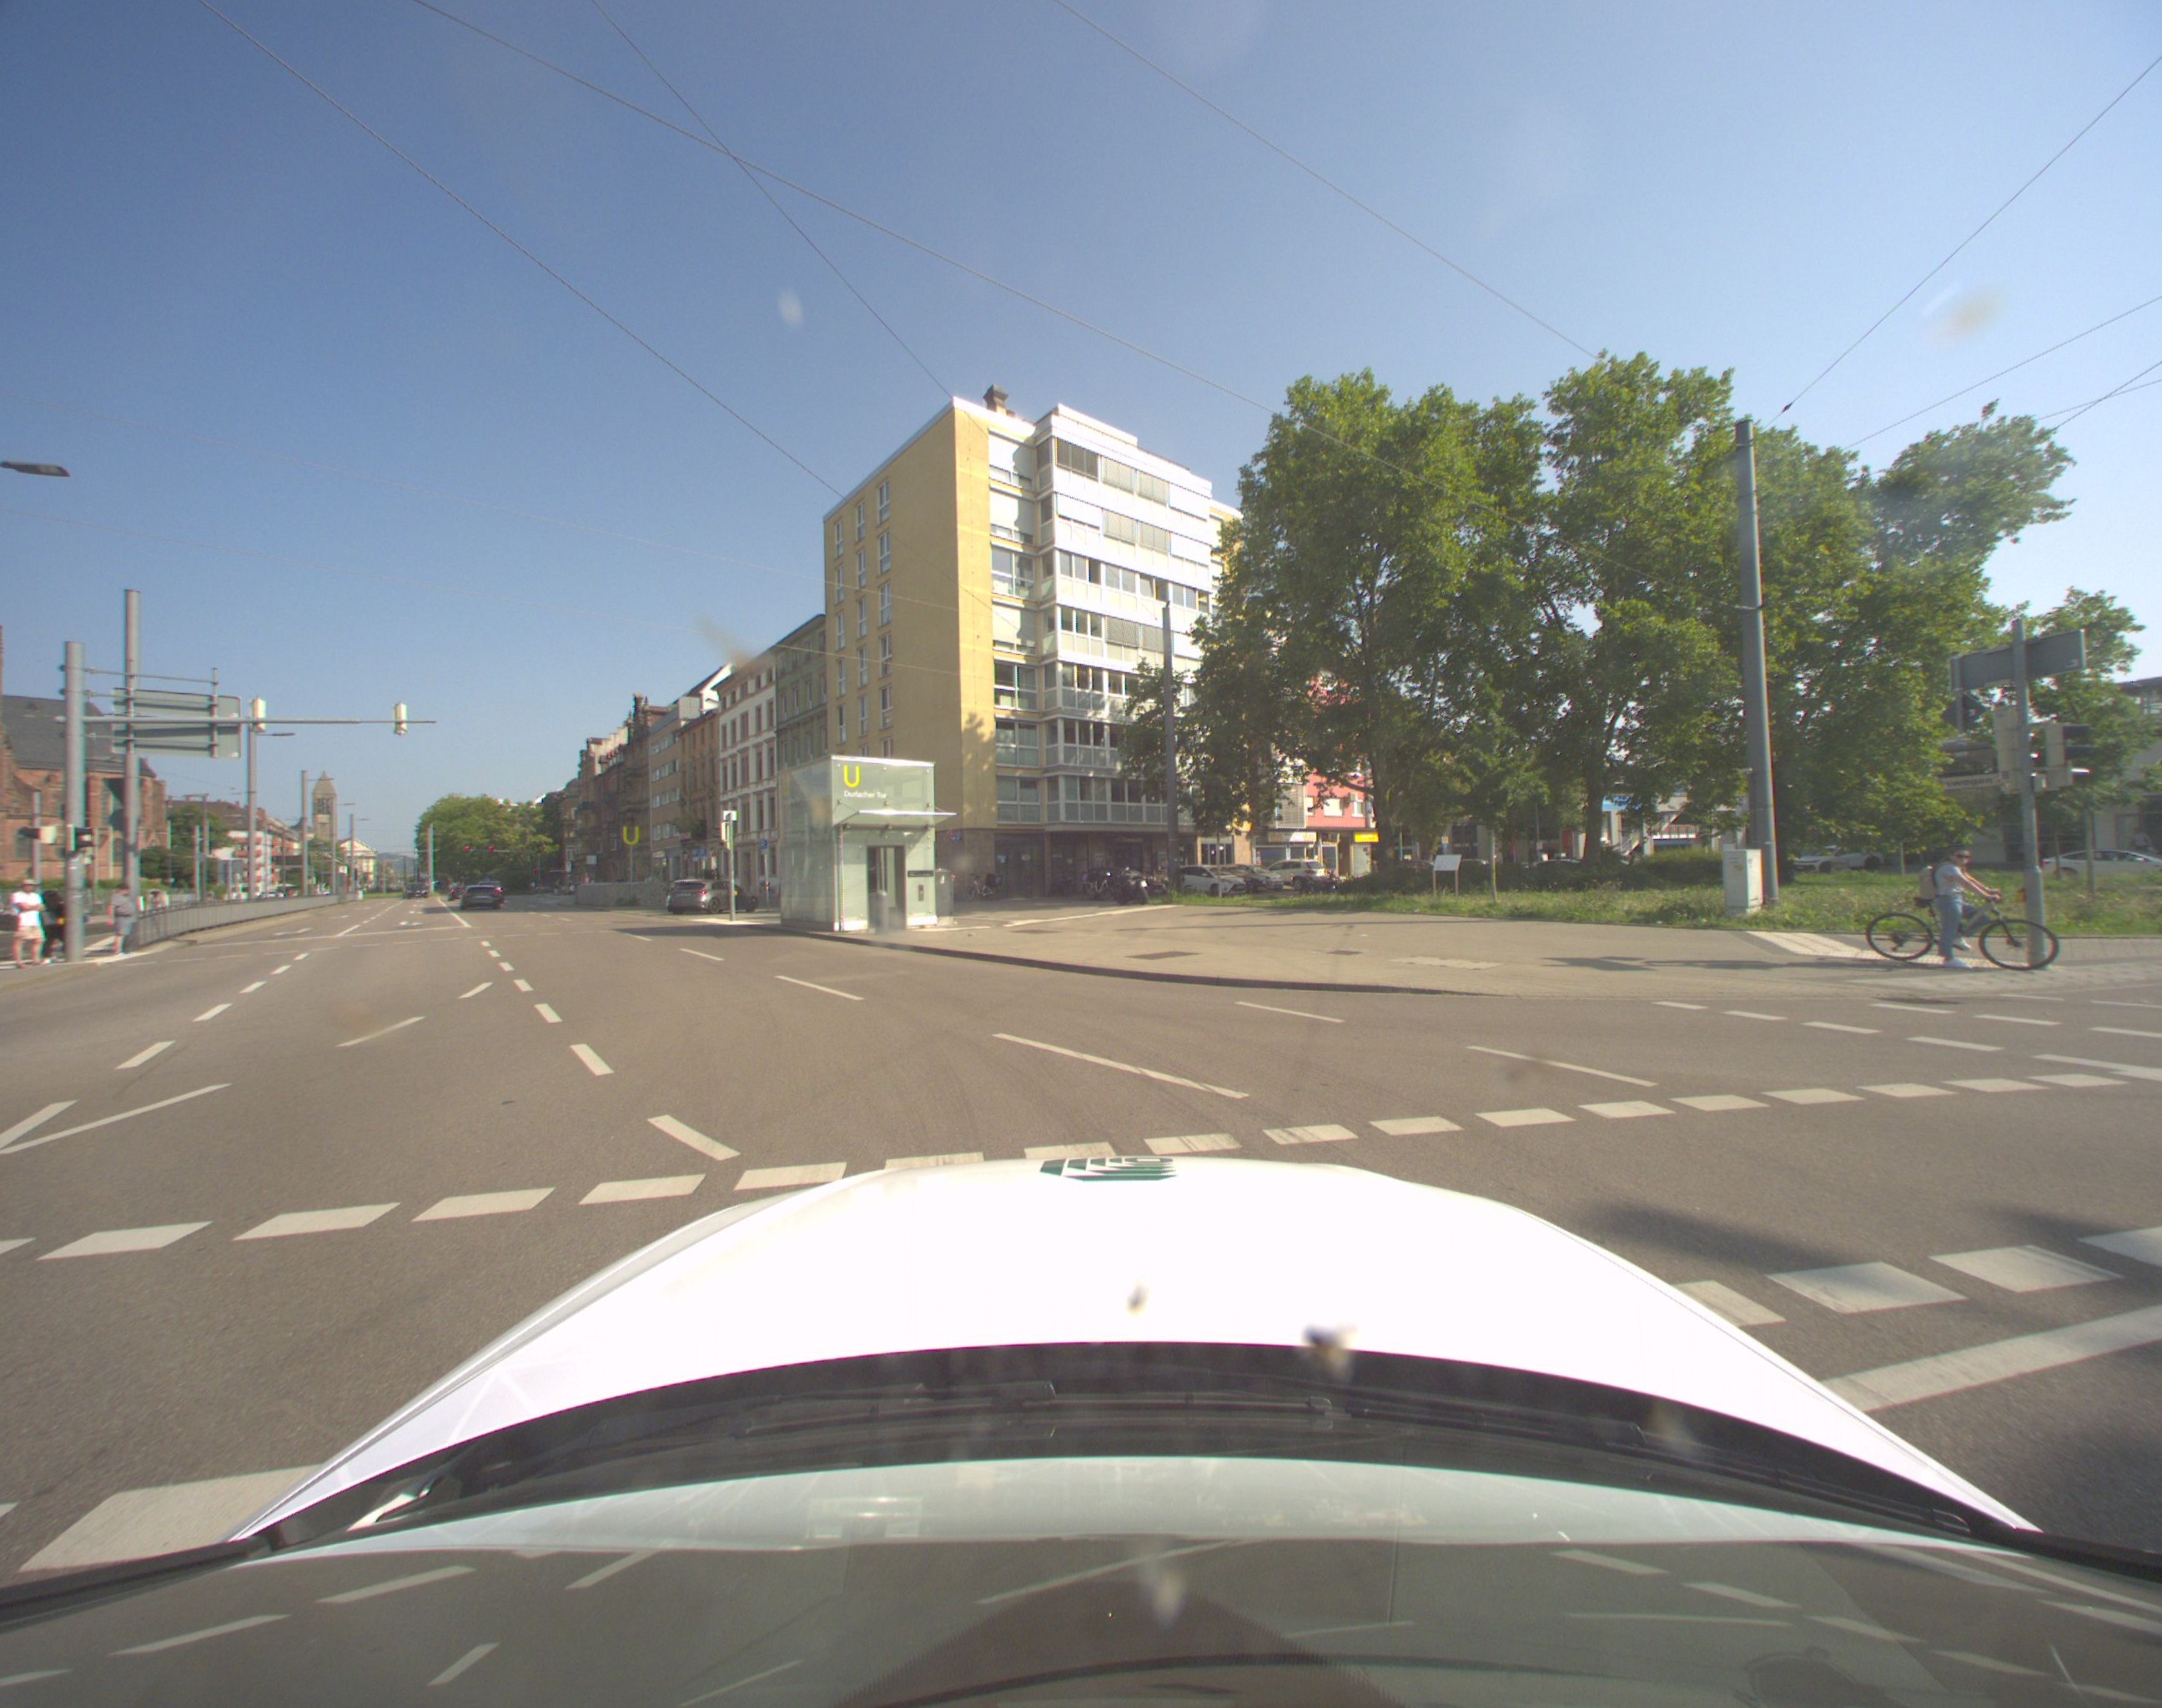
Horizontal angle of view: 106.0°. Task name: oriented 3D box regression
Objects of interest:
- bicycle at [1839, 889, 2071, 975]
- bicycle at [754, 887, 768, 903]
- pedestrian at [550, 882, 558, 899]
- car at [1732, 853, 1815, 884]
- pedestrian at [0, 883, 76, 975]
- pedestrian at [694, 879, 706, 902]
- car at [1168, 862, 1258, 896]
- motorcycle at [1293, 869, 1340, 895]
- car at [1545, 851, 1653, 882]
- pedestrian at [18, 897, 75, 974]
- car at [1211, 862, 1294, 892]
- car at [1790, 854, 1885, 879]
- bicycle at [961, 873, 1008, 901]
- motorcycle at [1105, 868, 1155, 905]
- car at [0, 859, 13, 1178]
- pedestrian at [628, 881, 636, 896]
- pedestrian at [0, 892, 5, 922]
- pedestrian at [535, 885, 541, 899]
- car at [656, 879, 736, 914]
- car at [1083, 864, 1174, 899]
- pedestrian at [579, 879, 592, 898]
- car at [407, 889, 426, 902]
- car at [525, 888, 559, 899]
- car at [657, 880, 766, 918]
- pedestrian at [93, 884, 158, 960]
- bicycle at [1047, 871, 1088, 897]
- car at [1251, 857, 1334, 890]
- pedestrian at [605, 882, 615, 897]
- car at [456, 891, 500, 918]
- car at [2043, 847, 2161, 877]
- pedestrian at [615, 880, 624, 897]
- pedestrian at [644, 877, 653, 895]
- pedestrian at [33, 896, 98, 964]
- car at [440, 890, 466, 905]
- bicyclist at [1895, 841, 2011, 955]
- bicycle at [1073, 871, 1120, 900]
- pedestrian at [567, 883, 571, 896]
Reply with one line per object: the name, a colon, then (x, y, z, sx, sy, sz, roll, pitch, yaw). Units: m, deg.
bicycle: (11.534, 0.984, 10.861, 0.568, 0.894, 2.062, -1, 1, -19)
bicycle: (-22.145, 2.828, 56.387, 0.386, 1.134, 1.699, -1, -2, -39)
pedestrian: (-55.006, 3.815, 85.015, 0.570, 1.729, 0.736, 0, -2, -42)
car: (48.092, 1.013, 56.645, 1.942, 2.014, 3.982, -1, -1, -13)
pedestrian: (-21.648, 1.526, 16.830, 0.838, 1.788, 0.721, -4, 0, -32)
pedestrian: (-28.041, 2.694, 59.964, 0.613, 1.629, 0.728, -1, -2, -39)
car: (6.292, 1.212, 39.210, 2.010, 1.507, 3.954, -1, -1, -38)
motorcycle: (9.490, 1.141, 32.892, 0.706, 1.002, 1.941, -1, -1, -23)
car: (25.141, 0.609, 39.609, 2.010, 1.376, 3.953, -1, -1, -40)
pedestrian: (-22.639, 1.756, 17.829, 0.638, 1.597, 0.462, -4, 0, -41)
car: (9.116, 1.222, 43.435, 2.010, 1.507, 3.954, -1, -1, -38)
car: (47.974, 0.773, 51.709, 4.029, 1.462, 2.002, -1, -1, 4)
bicycle: (-4.339, 1.474, 36.660, 2.033, 1.206, 0.663, -1, -1, -39)
motorcycle: (1.621, 1.069, 27.272, 0.706, 1.147, 2.283, -1, -1, -23)
car: (-6.449, 0.822, 1.979, 1.988, 1.621, 4.354, -2, -1, -1)
pedestrian: (-49.792, 3.855, 90.352, 0.608, 1.655, 0.580, 0, -2, -43)
pedestrian: (-63.332, 3.104, 47.525, 0.521, 1.701, 0.657, 0, -2, -40)
pedestrian: (-64.480, 4.490, 96.658, 0.485, 1.702, 0.694, 0, -2, -42)
car: (-17.896, 1.956, 38.003, 1.608, 1.464, 3.537, -2, -2, 9)
car: (2.049, 1.213, 36.032, 1.670, 1.441, 4.146, -1, -1, -38)
pedestrian: (-48.194, 3.331, 79.133, 0.933, 1.832, 0.791, 0, -2, -43)
car: (-80.284, 5.014, 98.369, 1.755, 1.527, 3.827, -1, -1, -40)
car: (-85.922, 6.266, 129.769, 4.218, 1.563, 1.975, -1, -2, -44)
car: (-15.360, 1.848, 34.124, 1.829, 1.423, 4.424, -2, -2, 12)
pedestrian: (-22.619, 1.595, 19.288, 0.821, 1.692, 0.644, -4, 0, -39)
bicycle: (-0.638, 1.455, 40.155, 2.033, 1.184, 0.663, -1, -1, -39)
car: (11.550, 1.080, 44.573, 2.010, 1.644, 3.954, -1, -1, -38)
pedestrian: (-50.217, 3.801, 86.814, 0.726, 1.610, 0.846, 0, -2, -38)
car: (-35.223, 2.916, 47.502, 1.879, 1.425, 4.306, 1, -3, -39)
car: (43.389, 0.339, 33.617, 2.002, 1.166, 4.365, -1, -1, -22)
pedestrian: (-49.549, 3.740, 87.396, 0.726, 1.787, 0.846, 0, -2, -38)
pedestrian: (-43.943, 3.274, 82.689, 0.608, 1.832, 0.733, 0, -2, -42)
pedestrian: (-24.415, 1.808, 19.598, 0.814, 1.547, 0.541, -4, 0, -38)
car: (-61.680, 4.223, 79.931, 1.879, 1.425, 4.306, 1, -3, -39)
bicyclist: (11.556, 0.557, 10.810, 0.731, 1.427, 0.814, -1, -1, -20)
bicycle: (0.653, 1.363, 35.253, 0.527, 1.235, 2.273, 0, -2, -43)
pedestrian: (-52.243, 3.613, 83.057, 0.442, 1.274, 0.277, -3, -2, 44)
